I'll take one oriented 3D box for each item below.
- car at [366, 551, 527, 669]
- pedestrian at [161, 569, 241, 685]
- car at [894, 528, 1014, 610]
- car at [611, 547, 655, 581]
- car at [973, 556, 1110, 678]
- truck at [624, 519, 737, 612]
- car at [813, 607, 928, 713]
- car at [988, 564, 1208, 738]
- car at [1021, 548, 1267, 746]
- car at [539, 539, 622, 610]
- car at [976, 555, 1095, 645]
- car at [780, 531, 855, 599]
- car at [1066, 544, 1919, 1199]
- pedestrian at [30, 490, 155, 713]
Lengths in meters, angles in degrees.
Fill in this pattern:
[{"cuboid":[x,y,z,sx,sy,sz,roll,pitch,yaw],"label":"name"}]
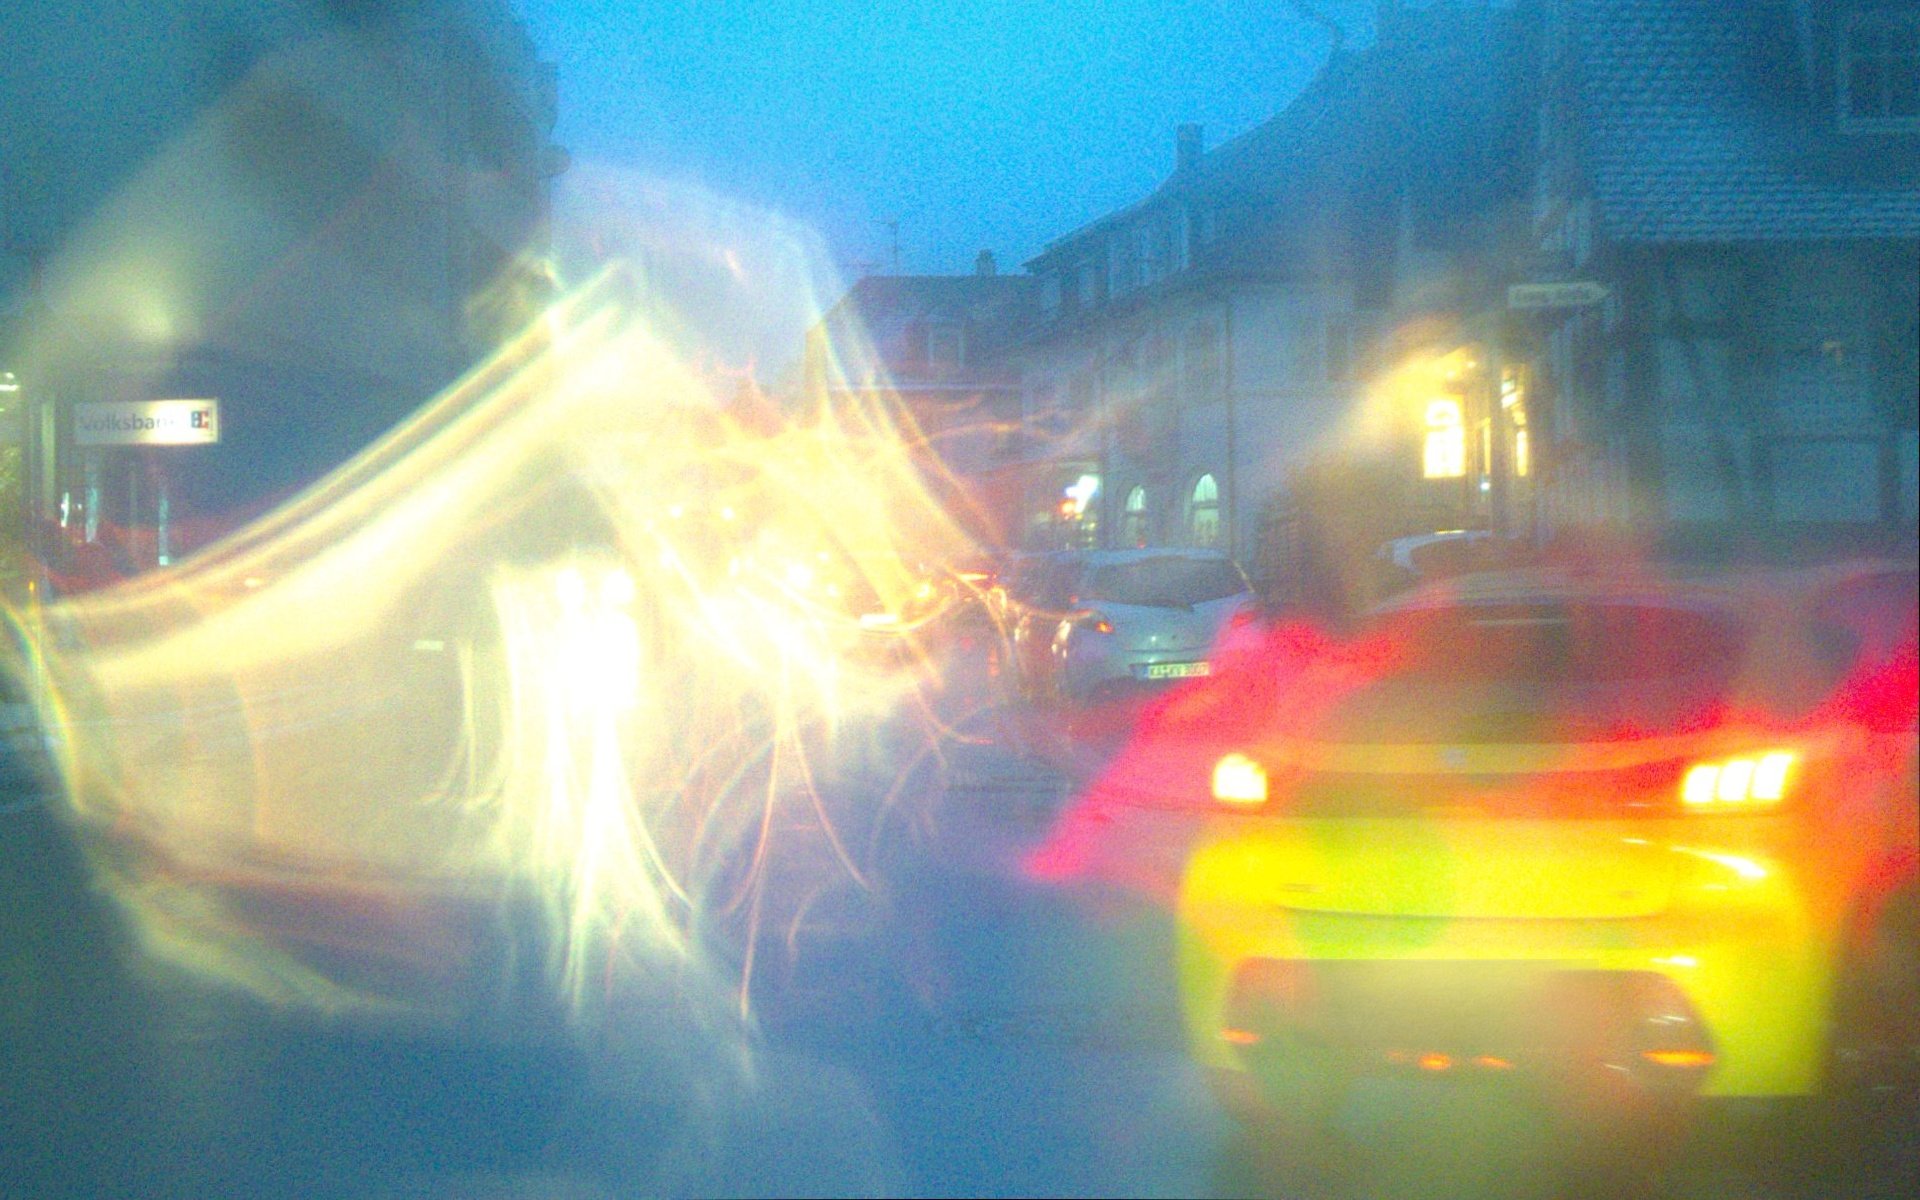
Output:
[{"cuboid":[-7.024,0.102,47.299,1.615,1.527,3.928,1,1,0],"label":"car"},{"cuboid":[-8.731,0.306,39.574,0.755,1.306,0.828,1,0,-2],"label":"pedestrian"},{"cuboid":[-0.163,-0.650,69.518,1.882,1.541,4.672,-2,1,-6],"label":"car"},{"cuboid":[-14.816,-1.643,155.585,1.637,1.530,3.407,0,1,-11],"label":"car"},{"cuboid":[1.045,0.186,44.421,1.626,1.436,3.799,-3,1,1],"label":"car"},{"cuboid":[-9.748,-1.207,119.237,3.014,3.118,8.002,0,1,-11],"label":"truck"},{"cuboid":[-1.315,0.862,51.082,1.638,1.476,3.379,1,0,-1],"label":"car"},{"cuboid":[1.297,0.452,33.968,1.764,1.521,4.390,-3,1,-2],"label":"car"},{"cuboid":[1.463,0.345,28.669,1.732,1.454,4.000,-3,1,-1],"label":"car"},{"cuboid":[-9.155,-0.638,82.680,1.794,1.637,3.813,1,1,-9],"label":"car"},{"cuboid":[1.289,-0.034,60.674,1.794,1.455,4.531,-3,1,-2],"label":"car"},{"cuboid":[-3.192,-0.796,77.014,1.638,1.476,3.271,1,1,-2],"label":"car"},{"cuboid":[1.991,0.596,9.079,1.773,1.442,3.720,0,2,32],"label":"car"},{"cuboid":[-7.776,-0.001,30.773,0.973,1.931,1.203,-1,1,-18],"label":"pedestrian"}]
